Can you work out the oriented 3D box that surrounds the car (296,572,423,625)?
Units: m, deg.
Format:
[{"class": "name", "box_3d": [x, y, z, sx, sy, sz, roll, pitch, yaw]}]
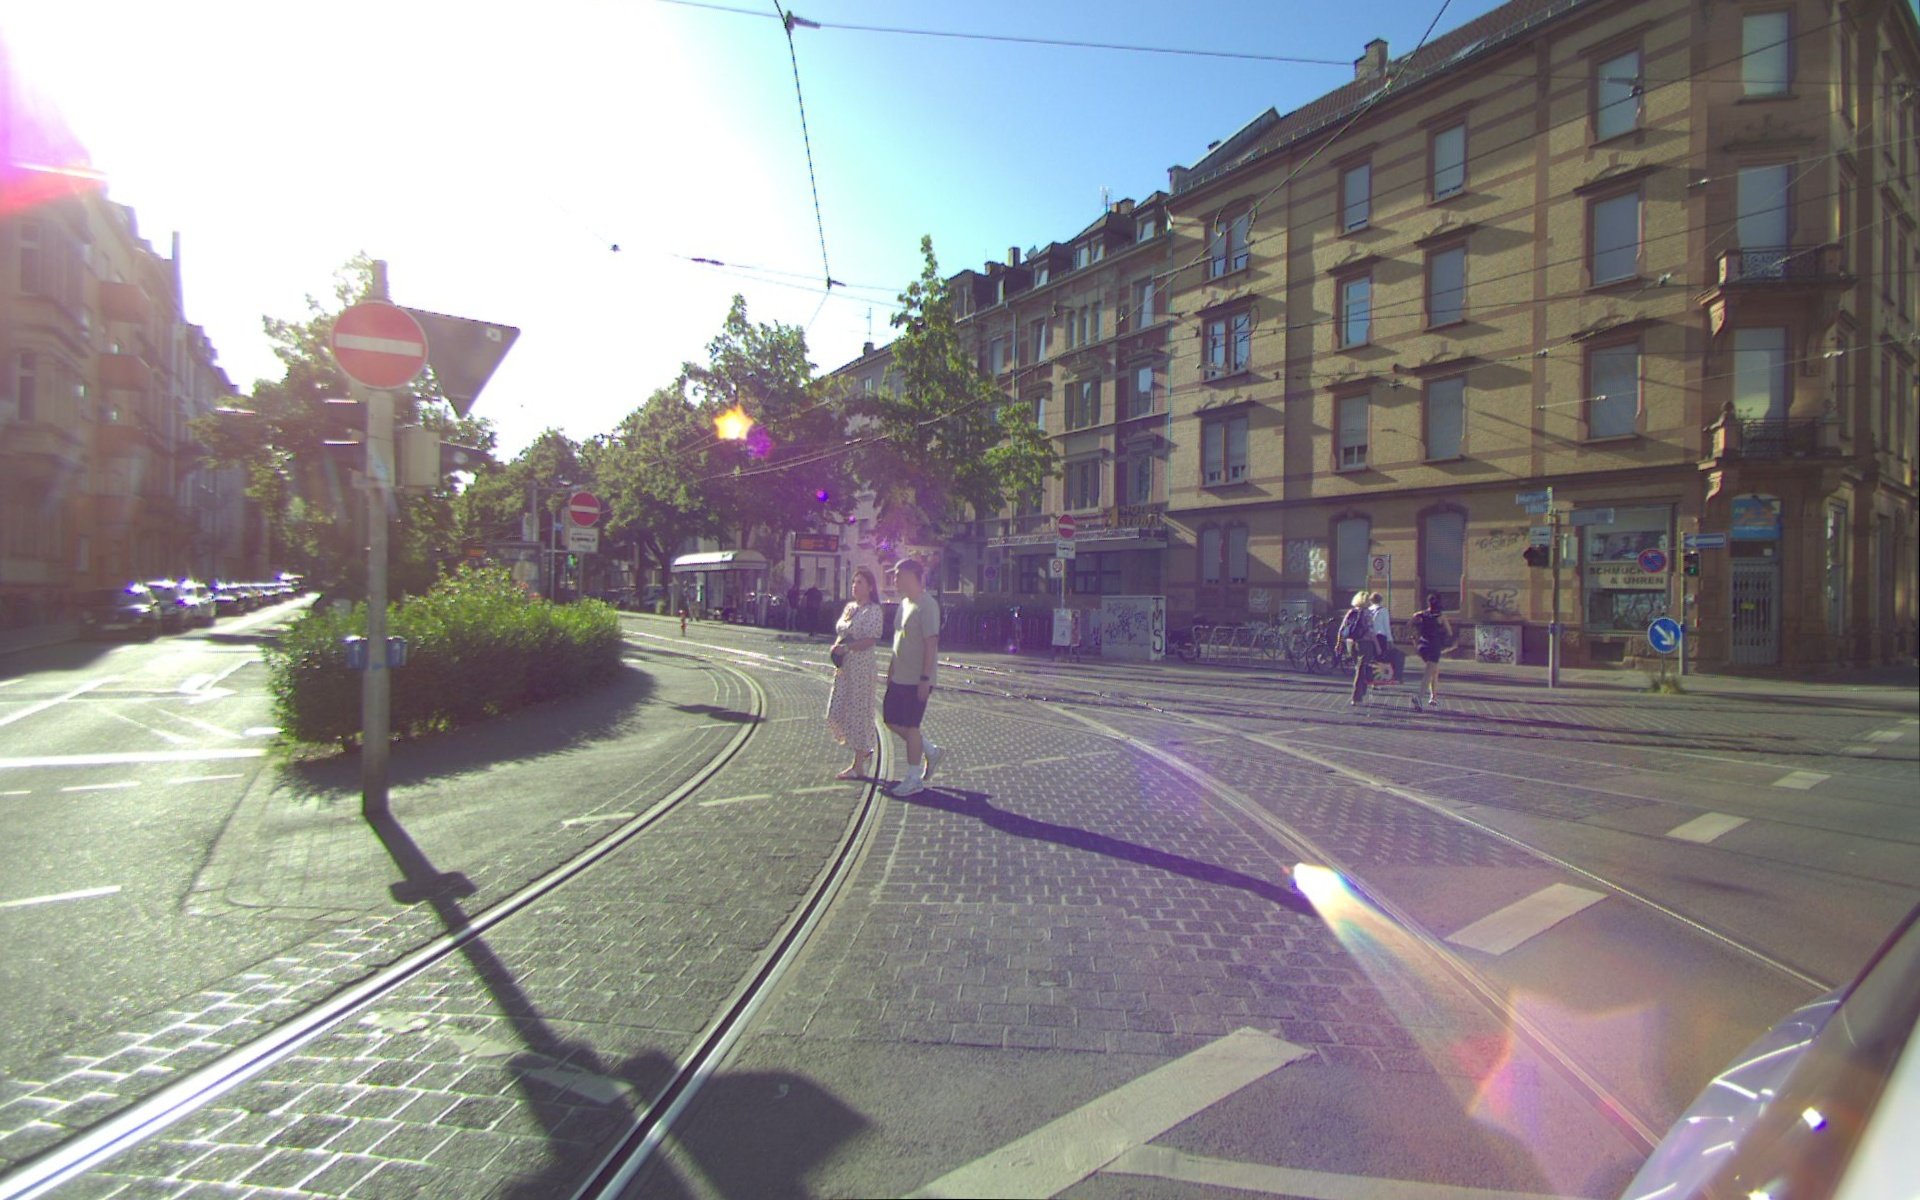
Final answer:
[{"class": "car", "box_3d": [-22.316, -0.075, 37.788, 3.920, 1.774, 1.834, -3, 1, -28]}]

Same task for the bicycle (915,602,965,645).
[{"class": "bicycle", "box_3d": [-0.560, 0.660, 29.369, 0.644, 1.143, 2.022, 1, 1, 25]}]

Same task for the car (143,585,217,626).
[{"class": "car", "box_3d": [-29.034, 0.173, 37.776, 1.858, 1.415, 4.002, 0, 1, -33]}]

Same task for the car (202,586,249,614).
[{"class": "car", "box_3d": [-39.490, -0.005, 54.485, 1.858, 1.415, 4.002, 0, 1, -33]}]

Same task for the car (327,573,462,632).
[{"class": "car", "box_3d": [-19.472, 0.043, 34.977, 3.920, 1.816, 1.834, -3, 1, -28]}]

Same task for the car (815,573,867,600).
[{"class": "car", "box_3d": [-6.884, -0.816, 58.172, 1.710, 1.437, 3.773, -2, 3, -28]}]

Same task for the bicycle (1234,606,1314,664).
[{"class": "bicycle", "box_3d": [7.227, 0.772, 23.224, 2.271, 1.225, 0.650, 0, 1, -41]}]

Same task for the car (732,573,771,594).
[{"class": "car", "box_3d": [-15.126, -1.211, 73.402, 1.710, 1.437, 3.773, -2, 3, -28]}]

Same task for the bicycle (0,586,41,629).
[{"class": "bicycle", "box_3d": [-27.387, 0.205, 29.436, 0.515, 1.188, 2.196, -1, 2, -30]}]

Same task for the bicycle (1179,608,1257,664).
[{"class": "bicycle", "box_3d": [6.213, 0.837, 24.290, 2.271, 1.225, 0.650, 0, 1, -41]}]

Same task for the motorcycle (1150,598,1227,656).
[{"class": "motorcycle", "box_3d": [6.033, 0.695, 26.687, 1.916, 1.422, 0.862, 2, 1, 15]}]

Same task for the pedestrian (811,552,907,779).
[{"class": "pedestrian", "box_3d": [-0.820, 0.514, 8.320, 0.691, 1.766, 0.646, -2, 1, -4]}]

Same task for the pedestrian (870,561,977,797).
[{"class": "pedestrian", "box_3d": [-0.288, 0.550, 7.642, 0.618, 1.675, 0.704, -1, 2, -17]}]

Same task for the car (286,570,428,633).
[{"class": "car", "box_3d": [-19.288, 0.030, 32.548, 3.778, 1.816, 1.698, -3, 1, -28]}]

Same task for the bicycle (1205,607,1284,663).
[{"class": "bicycle", "box_3d": [6.695, 0.790, 23.754, 2.271, 1.225, 0.650, 0, 1, -41]}]

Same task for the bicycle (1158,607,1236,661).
[{"class": "bicycle", "box_3d": [5.848, 0.817, 24.914, 2.271, 1.225, 0.650, 0, 1, -41]}]

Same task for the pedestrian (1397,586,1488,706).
[{"class": "pedestrian", "box_3d": [6.567, 0.610, 13.802, 0.923, 1.556, 0.636, -1, 2, -7]}]

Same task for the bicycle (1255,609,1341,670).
[{"class": "bicycle", "box_3d": [7.512, 0.847, 22.437, 2.271, 1.224, 0.752, -1, 2, -41]}]

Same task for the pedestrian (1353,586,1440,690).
[{"class": "pedestrian", "box_3d": [7.414, 0.615, 17.205, 0.988, 1.652, 0.927, -2, 2, -24]}]

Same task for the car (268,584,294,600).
[{"class": "car", "box_3d": [-61.260, -0.754, 91.359, 1.858, 1.415, 4.002, 0, 1, -33]}]

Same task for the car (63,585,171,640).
[{"class": "car", "box_3d": [-23.558, 0.300, 28.414, 1.858, 1.415, 4.002, 0, 1, -33]}]

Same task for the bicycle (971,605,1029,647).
[{"class": "bicycle", "box_3d": [1.164, 0.724, 29.147, 0.647, 1.143, 2.013, 1, 1, 36]}]

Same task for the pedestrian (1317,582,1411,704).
[{"class": "pedestrian", "box_3d": [5.793, 0.595, 14.558, 0.923, 1.652, 0.927, -1, 2, -7]}]

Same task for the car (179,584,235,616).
[{"class": "car", "box_3d": [-35.130, -0.008, 47.284, 1.858, 1.415, 4.002, 0, 1, -33]}]

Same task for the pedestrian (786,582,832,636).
[{"class": "pedestrian", "box_3d": [-4.852, 0.265, 32.535, 1.002, 1.652, 1.010, 1, 3, 35]}]

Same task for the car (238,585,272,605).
[{"class": "car", "box_3d": [-50.293, -0.368, 72.226, 1.858, 1.415, 4.002, 0, 1, -33]}]

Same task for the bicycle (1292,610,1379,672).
[{"class": "bicycle", "box_3d": [8.081, 0.846, 21.740, 2.271, 1.225, 0.752, 0, 1, -41]}]

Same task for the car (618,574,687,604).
[{"class": "car", "box_3d": [-20.610, -0.738, 67.970, 3.933, 1.833, 1.996, -2, 1, 8]}]

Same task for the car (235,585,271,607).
[{"class": "car", "box_3d": [-47.313, -0.274, 67.781, 1.858, 1.415, 4.002, 0, 1, -33]}]

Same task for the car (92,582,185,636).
[{"class": "car", "box_3d": [-25.777, 0.230, 31.886, 1.858, 1.587, 4.002, 0, 1, -33]}]

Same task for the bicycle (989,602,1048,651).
[{"class": "bicycle", "box_3d": [1.662, 0.713, 28.424, 0.647, 1.224, 2.014, 1, 3, 36]}]
